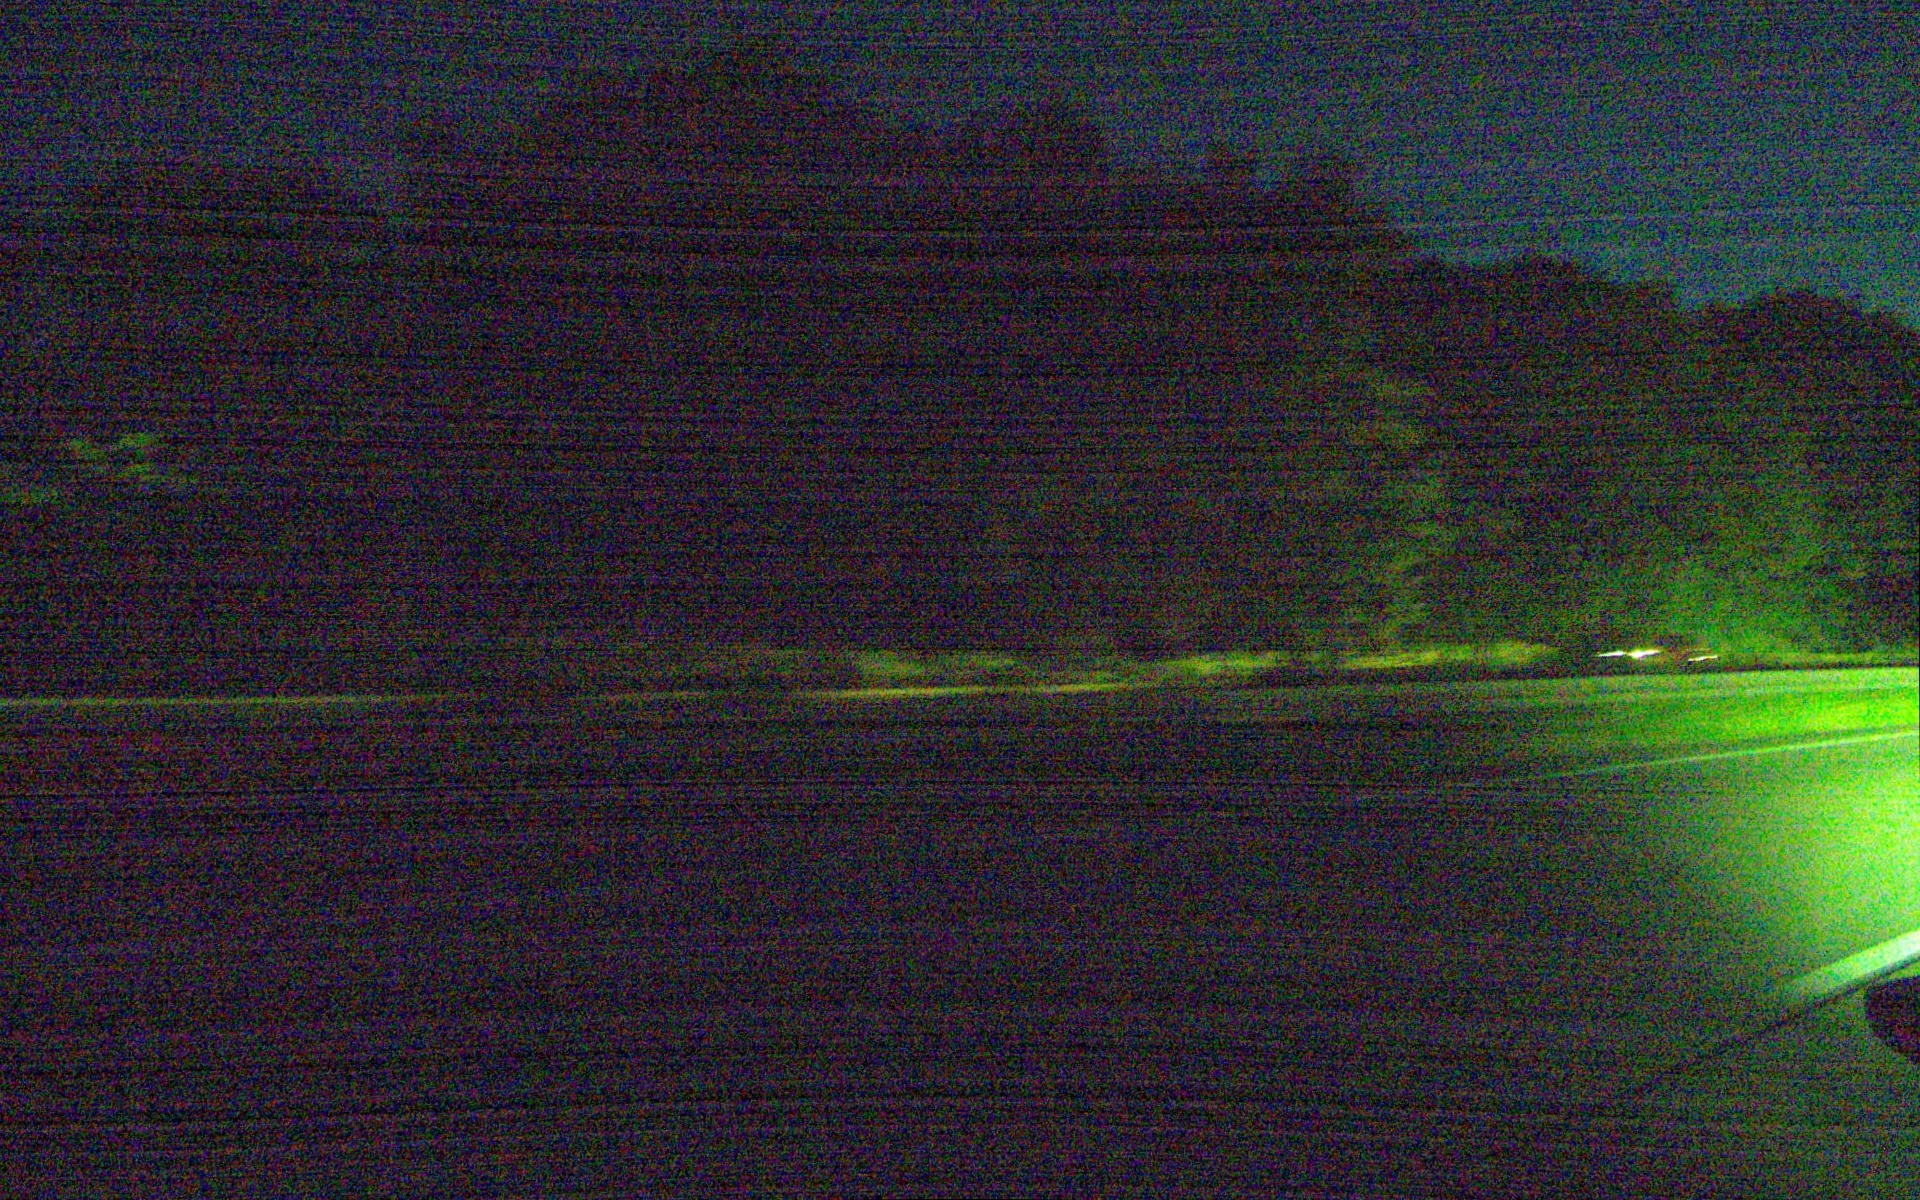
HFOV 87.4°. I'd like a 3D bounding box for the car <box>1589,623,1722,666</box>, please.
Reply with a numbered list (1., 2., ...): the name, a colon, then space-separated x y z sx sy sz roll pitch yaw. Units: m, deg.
1. car: 24.719 1.565 35.693 4.412 1.461 1.817 1 -3 -24
